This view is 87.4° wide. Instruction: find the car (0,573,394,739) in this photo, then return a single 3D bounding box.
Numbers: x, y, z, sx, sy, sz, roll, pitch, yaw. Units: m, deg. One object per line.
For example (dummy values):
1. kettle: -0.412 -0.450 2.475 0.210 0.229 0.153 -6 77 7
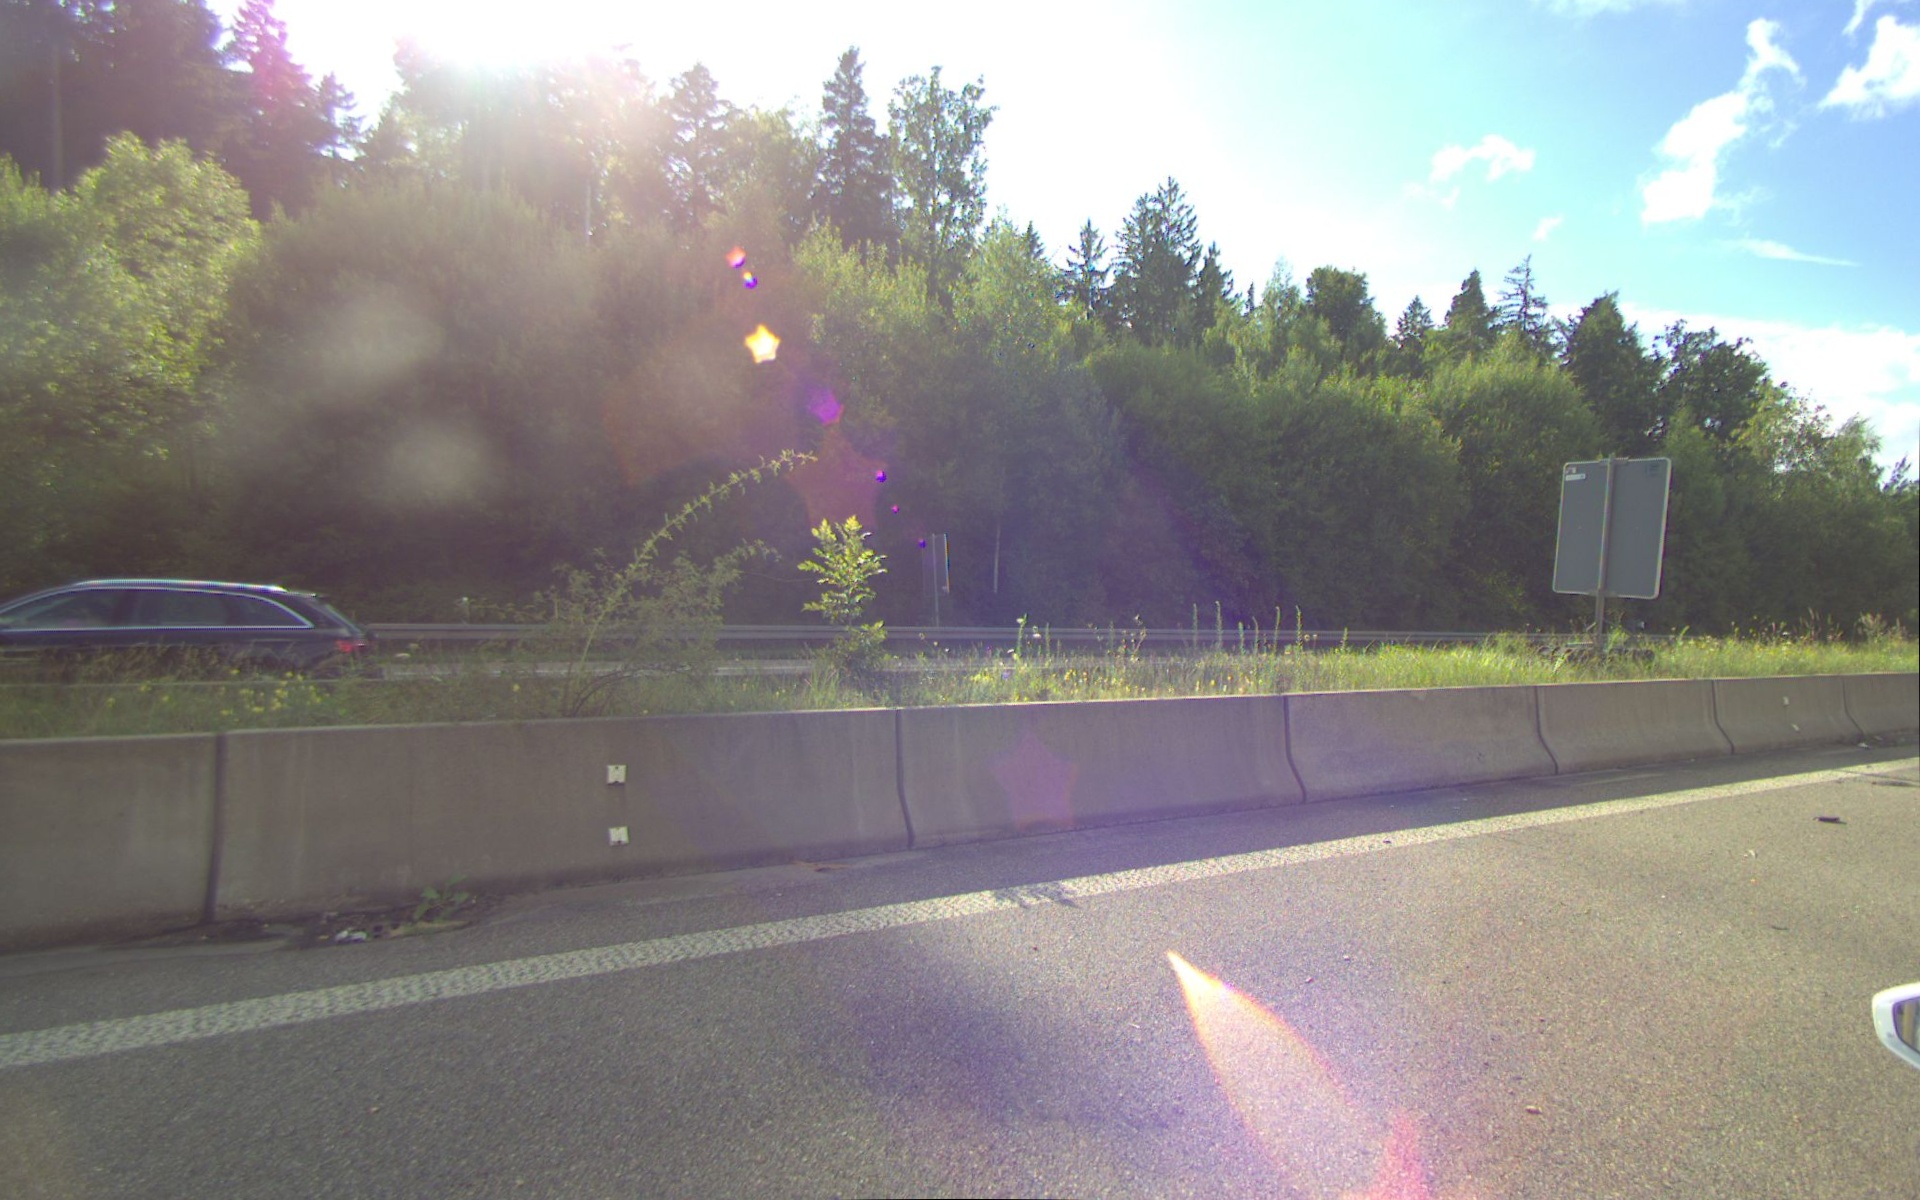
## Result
1. car: -7.720 0.495 9.727 3.867 1.406 1.652 2 0 -31
